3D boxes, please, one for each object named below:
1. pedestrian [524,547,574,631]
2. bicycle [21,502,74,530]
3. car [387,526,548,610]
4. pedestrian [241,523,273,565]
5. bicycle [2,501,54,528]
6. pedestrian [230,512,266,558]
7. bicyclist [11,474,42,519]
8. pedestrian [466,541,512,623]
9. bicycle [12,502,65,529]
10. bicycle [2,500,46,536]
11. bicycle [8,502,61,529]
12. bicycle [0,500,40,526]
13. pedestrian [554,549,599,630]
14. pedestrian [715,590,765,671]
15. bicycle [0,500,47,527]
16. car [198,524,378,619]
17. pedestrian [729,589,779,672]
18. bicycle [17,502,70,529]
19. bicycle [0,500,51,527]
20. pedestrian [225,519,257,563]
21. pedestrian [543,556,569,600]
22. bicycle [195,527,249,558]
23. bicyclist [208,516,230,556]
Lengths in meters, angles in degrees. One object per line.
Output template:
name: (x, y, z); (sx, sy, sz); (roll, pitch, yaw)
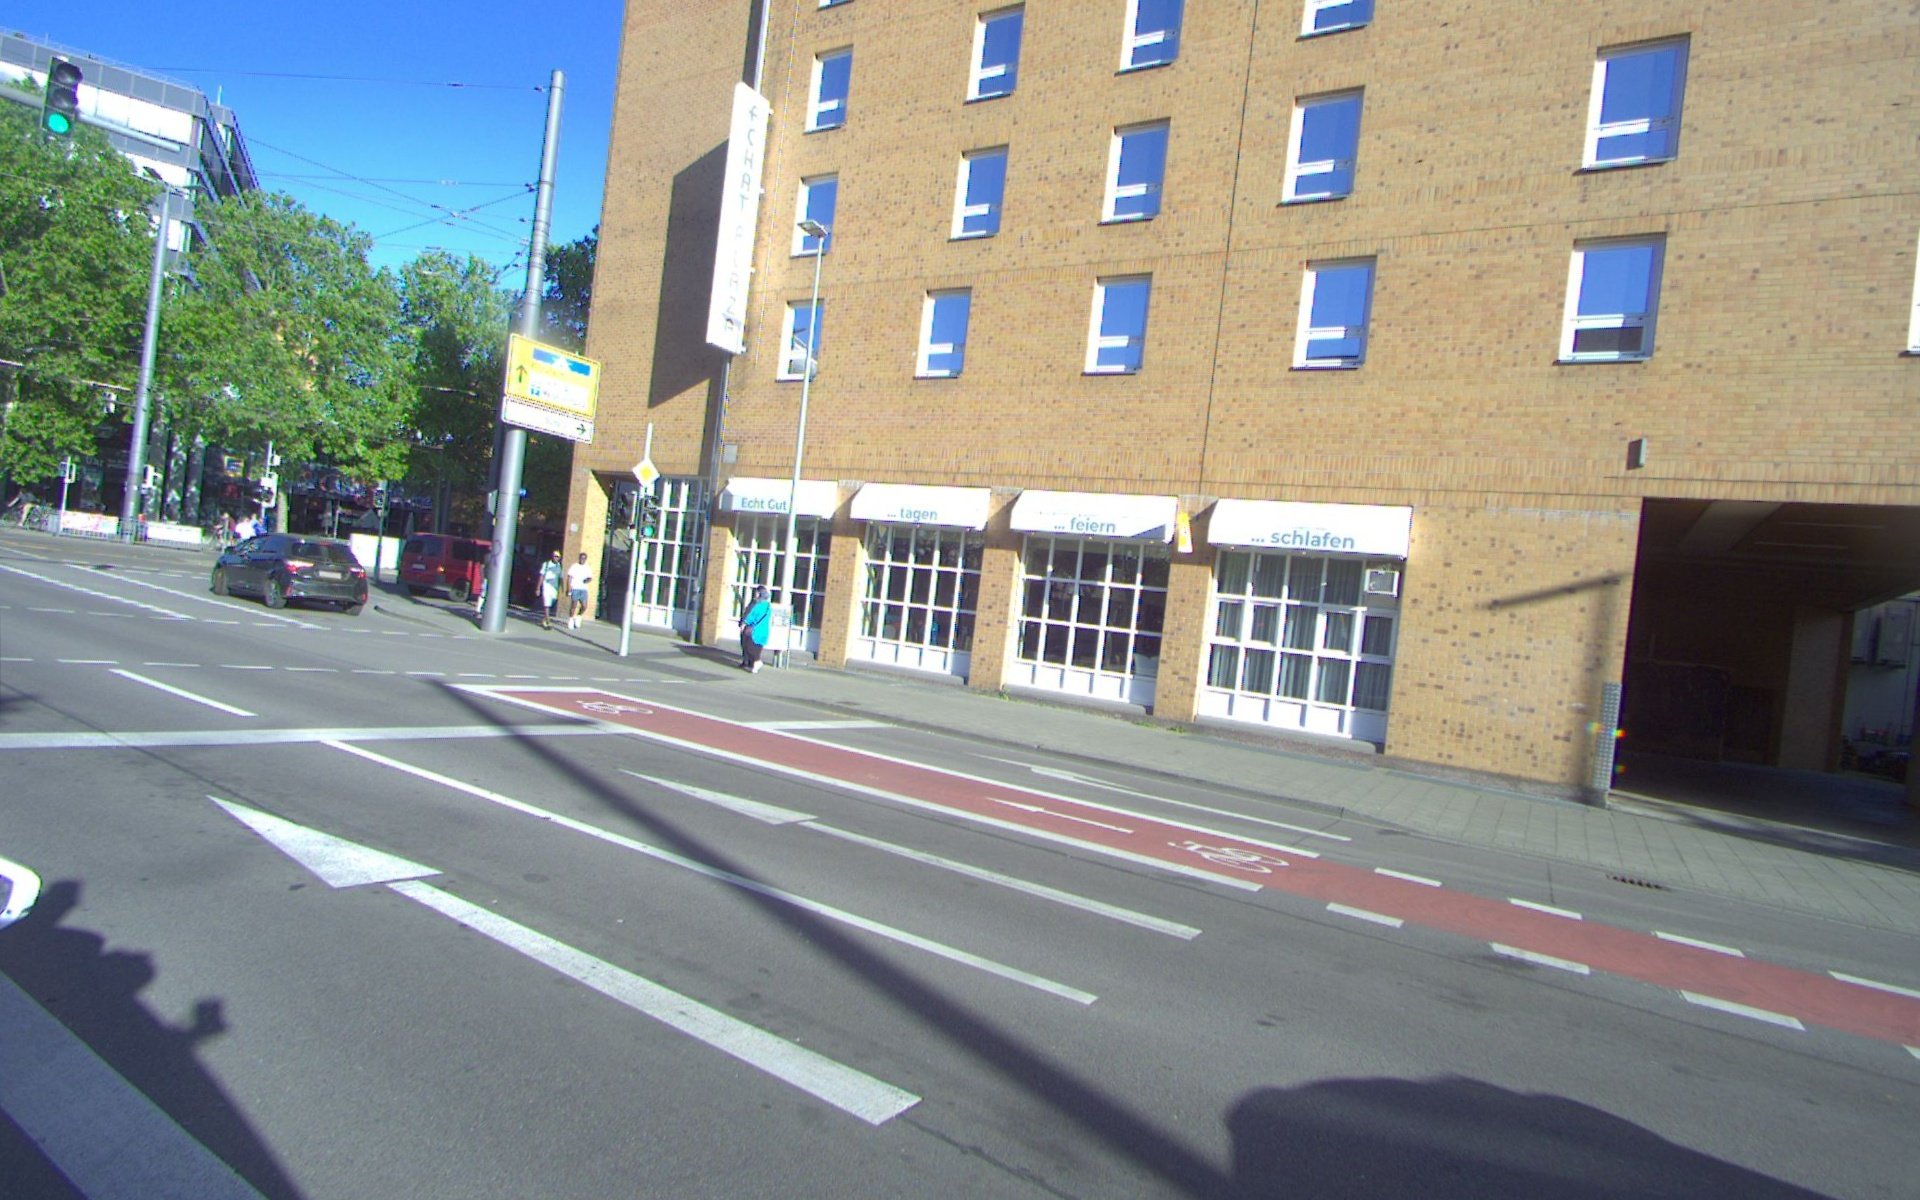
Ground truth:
pedestrian: (-9.312, -0.234, 22.780); (0.670, 1.804, 0.593); (10, 5, 28)
bicycle: (-46.056, -4.236, 50.808); (0.354, 1.058, 1.884); (6, -2, 31)
car: (-15.740, -0.945, 32.421); (1.776, 2.031, 4.477); (7, -2, 20)
pedestrian: (-26.882, -2.149, 38.480); (0.689, 1.496, 0.568); (6, -1, 24)
bicycle: (-48.382, -4.436, 52.243); (0.354, 1.058, 1.884); (6, -2, 31)
pedestrian: (-29.512, -2.686, 41.706); (0.747, 1.724, 0.834); (6, -1, 32)
bicyclist: (-41.059, -4.549, 44.238); (0.717, 1.829, 0.697); (6, -1, 36)
pedestrian: (-11.071, -0.420, 23.661); (0.726, 1.813, 0.510); (7, -1, -19)
bicycle: (-47.350, -4.338, 51.699); (0.354, 1.058, 1.884); (6, -2, 31)
bicycle: (-41.164, -3.633, 44.229); (2.872, 1.383, 0.726); (6, -2, 36)
bicycle: (-47.809, -4.372, 51.997); (0.354, 1.058, 1.884); (7, -2, 31)
bicycle: (-50.152, -4.644, 53.358); (0.354, 1.058, 1.885); (7, -2, 31)
pedestrian: (-8.973, -0.242, 23.549); (0.673, 1.802, 0.591); (6, 1, 43)
pedestrian: (-4.232, 0.595, 19.367); (0.543, 1.495, 0.593); (6, 0, 32)
bicycle: (-49.212, -4.541, 52.733); (0.354, 1.058, 1.885); (7, -2, 31)
car: (-14.213, -0.626, 21.211); (3.977, 1.467, 1.733); (7, -1, 35)
pedestrian: (-3.837, 0.565, 18.776); (0.591, 1.472, 0.592); (6, 4, 32)
bicycle: (-46.673, -4.283, 51.273); (0.354, 1.058, 1.884); (6, -2, 31)
bicycle: (-48.781, -4.489, 52.502); (0.354, 1.058, 1.885); (7, -2, 31)
pedestrian: (-27.133, -2.222, 37.947); (0.689, 1.550, 0.568); (6, -1, 24)
pedestrian: (-16.684, -0.906, 41.502); (0.636, 1.719, 0.716); (8, -2, -39)
bicycle: (-36.351, -2.826, 49.587); (0.414, 1.228, 2.046); (6, -2, 32)
bicyclist: (-36.419, -3.157, 49.428); (0.396, 1.859, 0.585); (6, -1, 31)
